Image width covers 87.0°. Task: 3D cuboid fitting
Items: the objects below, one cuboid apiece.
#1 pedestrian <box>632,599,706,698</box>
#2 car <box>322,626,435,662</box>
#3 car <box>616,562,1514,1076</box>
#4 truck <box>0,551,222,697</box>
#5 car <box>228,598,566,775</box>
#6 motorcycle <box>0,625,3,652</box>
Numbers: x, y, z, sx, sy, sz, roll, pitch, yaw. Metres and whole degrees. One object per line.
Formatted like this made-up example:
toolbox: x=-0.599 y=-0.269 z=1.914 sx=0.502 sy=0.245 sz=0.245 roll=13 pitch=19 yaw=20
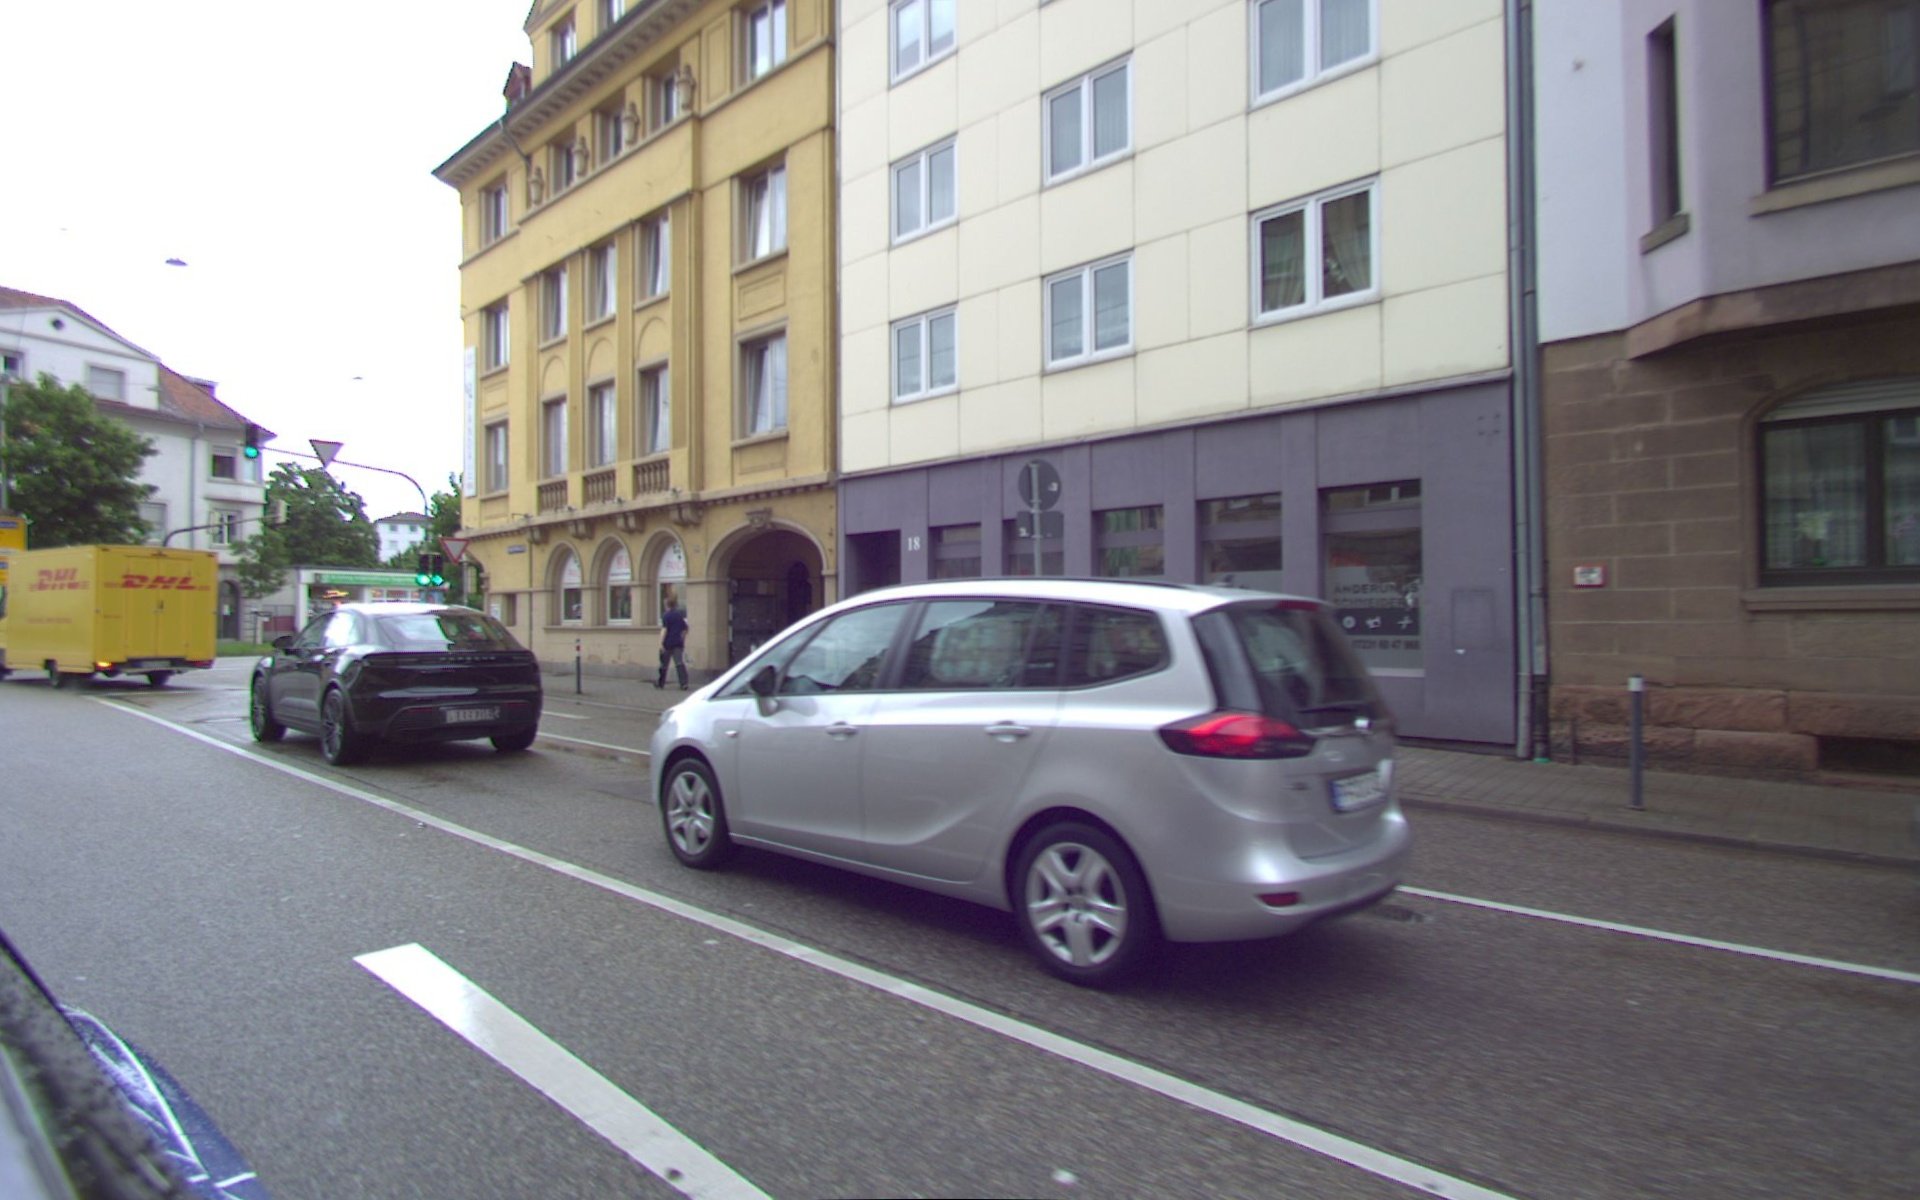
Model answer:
pedestrian: x=-5.553 y=0.893 z=19.304 sx=1.032 sy=1.784 sz=0.884 roll=-1 pitch=2 yaw=41
car: x=-25.988 y=1.928 z=45.360 sx=2.012 sy=1.529 sz=4.006 roll=0 pitch=-2 yaw=24
car: x=0.206 y=0.722 z=5.402 sx=4.520 sy=1.595 sz=1.922 roll=-1 pitch=-2 yaw=42
truck: x=-18.948 y=0.499 z=21.989 sx=7.001 sy=2.771 sz=2.211 roll=0 pitch=-2 yaw=32
car: x=-6.469 y=0.820 z=11.385 sx=4.604 sy=1.595 sz=1.922 roll=-1 pitch=-2 yaw=42
motorcycle: x=-41.491 y=1.607 z=42.318 sx=0.715 sy=1.157 sz=1.996 roll=0 pitch=-2 yaw=24
